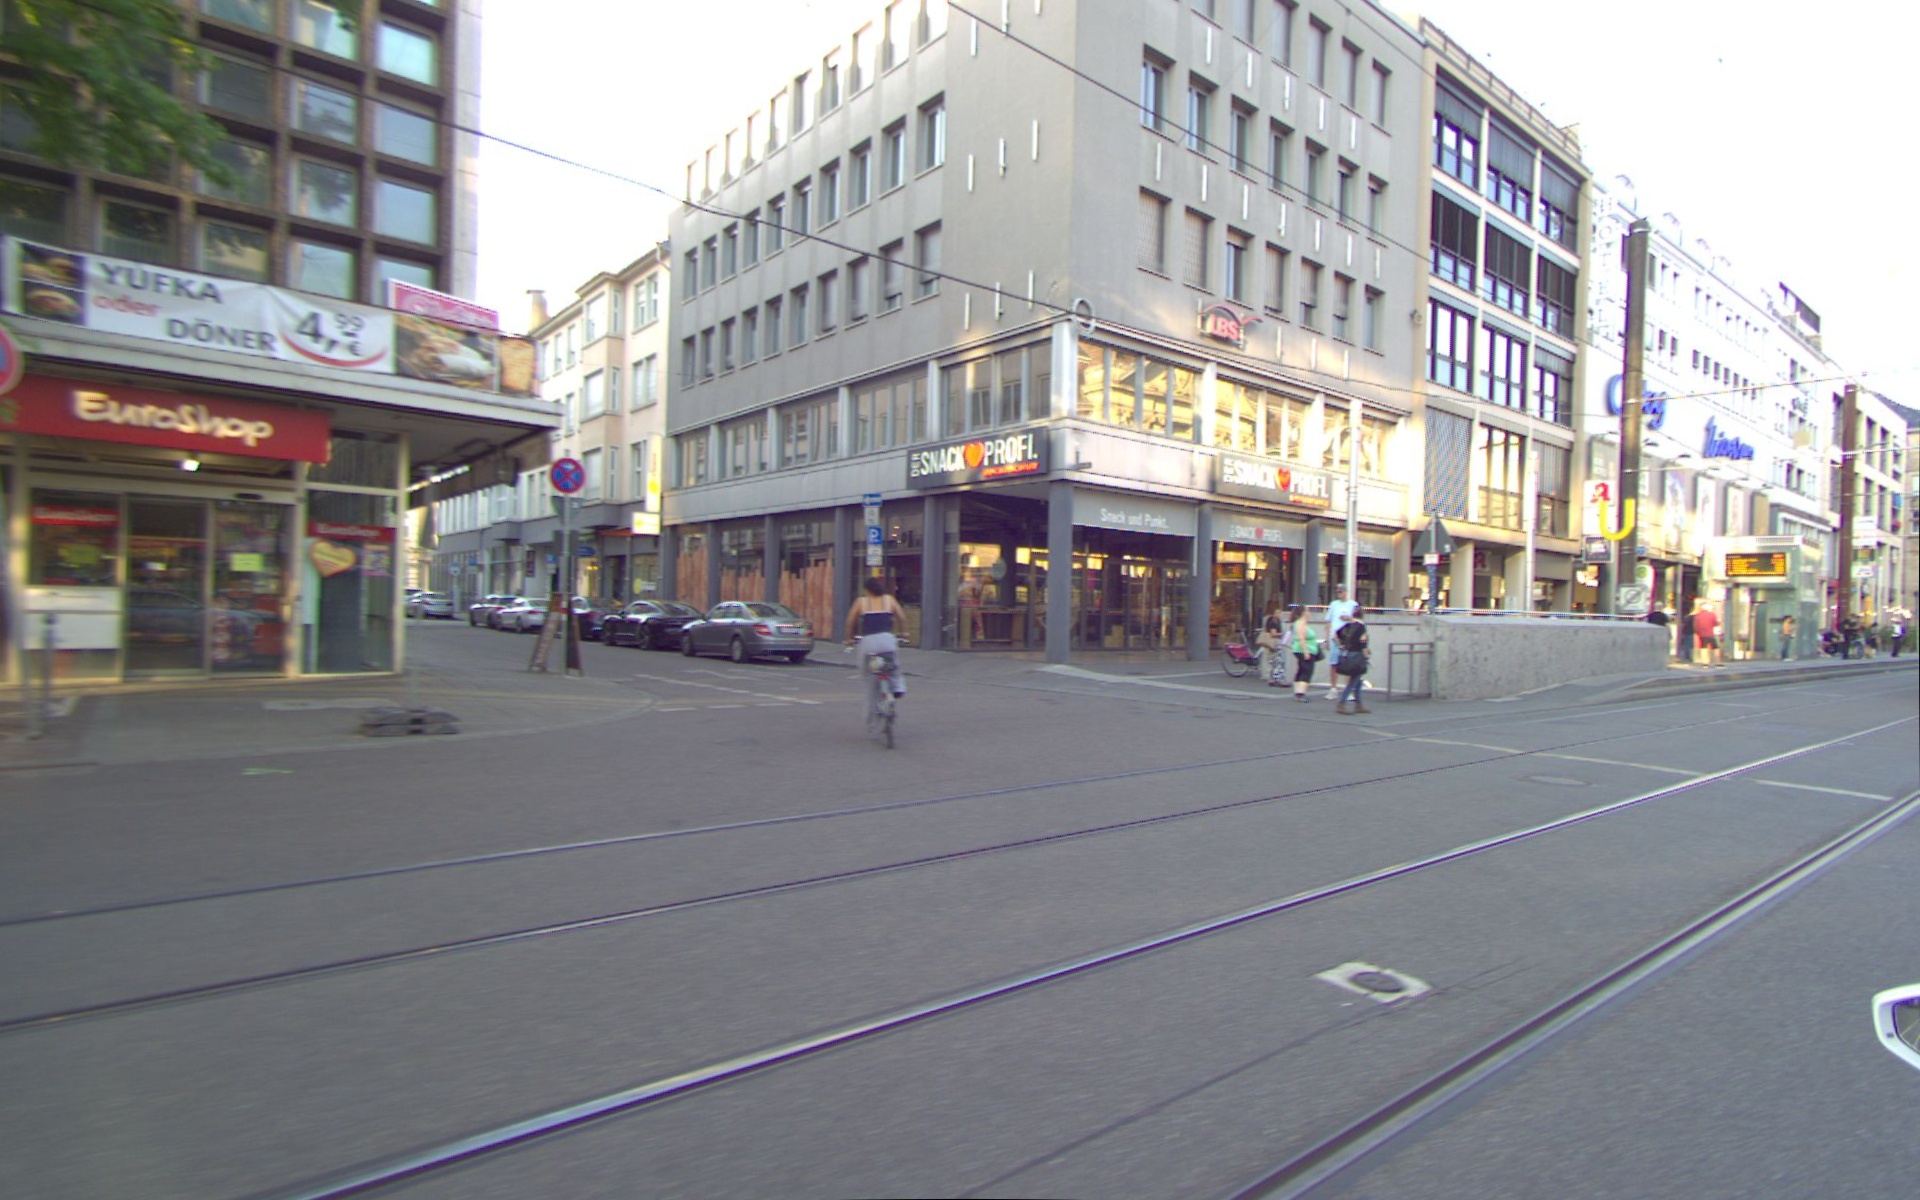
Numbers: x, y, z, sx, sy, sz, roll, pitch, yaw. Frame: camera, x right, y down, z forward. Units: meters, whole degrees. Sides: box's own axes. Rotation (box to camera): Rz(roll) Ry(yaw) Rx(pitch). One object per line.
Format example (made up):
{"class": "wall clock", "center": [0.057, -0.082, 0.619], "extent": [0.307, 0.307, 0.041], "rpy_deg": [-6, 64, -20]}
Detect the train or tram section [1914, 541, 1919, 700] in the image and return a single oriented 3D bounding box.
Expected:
{"class": "train or tram section", "center": [26.629, 0.576, 24.735], "extent": [14.385, 3.363, 2.778], "rpy_deg": [1, 0, -39]}

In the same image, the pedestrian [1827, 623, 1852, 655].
{"class": "pedestrian", "center": [38.438, 1.705, 43.913], "extent": [0.714, 1.397, 0.701], "rpy_deg": [2, -1, -40]}

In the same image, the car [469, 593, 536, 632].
{"class": "car", "center": [-19.674, 0.511, 43.090], "extent": [1.784, 1.530, 3.957], "rpy_deg": [2, -1, -37]}

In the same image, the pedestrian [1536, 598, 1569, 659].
{"class": "pedestrian", "center": [17.411, 0.843, 29.520], "extent": [0.615, 1.748, 0.605], "rpy_deg": [2, -1, 8]}

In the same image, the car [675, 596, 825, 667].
{"class": "car", "center": [-5.171, 0.729, 24.400], "extent": [1.786, 1.530, 4.084], "rpy_deg": [2, -1, -41]}

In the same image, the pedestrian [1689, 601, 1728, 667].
{"class": "pedestrian", "center": [19.999, 0.896, 26.847], "extent": [0.781, 1.720, 0.706], "rpy_deg": [2, -1, -44]}

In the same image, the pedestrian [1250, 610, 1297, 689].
{"class": "pedestrian", "center": [5.962, 0.936, 19.109], "extent": [0.672, 1.453, 0.555], "rpy_deg": [2, -1, -1]}

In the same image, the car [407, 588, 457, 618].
{"class": "car", "center": [-28.823, 0.162, 54.757], "extent": [1.784, 1.530, 3.957], "rpy_deg": [2, -1, -37]}

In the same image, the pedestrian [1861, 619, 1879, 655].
{"class": "pedestrian", "center": [44.369, 1.795, 48.963], "extent": [0.594, 1.750, 0.604], "rpy_deg": [1, -1, 45]}

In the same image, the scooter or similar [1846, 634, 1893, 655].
{"class": "scooter or similar", "center": [39.177, 1.894, 43.253], "extent": [1.495, 0.842, 0.559], "rpy_deg": [2, -1, 0]}

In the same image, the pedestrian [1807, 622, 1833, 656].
{"class": "pedestrian", "center": [35.861, 1.614, 41.902], "extent": [0.714, 1.397, 0.701], "rpy_deg": [2, -1, -40]}

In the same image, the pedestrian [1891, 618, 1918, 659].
{"class": "pedestrian", "center": [41.251, 1.667, 43.869], "extent": [0.703, 1.748, 0.767], "rpy_deg": [2, -1, -39]}

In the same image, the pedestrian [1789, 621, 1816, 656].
{"class": "pedestrian", "center": [34.151, 1.553, 40.711], "extent": [0.714, 1.397, 0.701], "rpy_deg": [2, -1, -40]}

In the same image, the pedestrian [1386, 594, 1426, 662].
{"class": "pedestrian", "center": [11.698, 0.737, 26.344], "extent": [0.704, 1.748, 0.707], "rpy_deg": [2, -1, -40]}

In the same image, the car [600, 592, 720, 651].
{"class": "car", "center": [-8.707, 0.599, 28.919], "extent": [1.786, 1.530, 4.084], "rpy_deg": [2, -1, -41]}

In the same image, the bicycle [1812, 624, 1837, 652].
{"class": "bicycle", "center": [37.387, 1.618, 43.469], "extent": [0.426, 1.157, 1.616], "rpy_deg": [1, 0, 27]}

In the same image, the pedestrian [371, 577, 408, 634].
{"class": "pedestrian", "center": [-17.067, 0.164, 30.035], "extent": [0.863, 1.683, 0.921], "rpy_deg": [1, 0, -36]}

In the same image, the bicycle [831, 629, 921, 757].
{"class": "bicycle", "center": [-0.901, 0.901, 10.446], "extent": [0.802, 1.087, 2.111], "rpy_deg": [2, 1, -7]}

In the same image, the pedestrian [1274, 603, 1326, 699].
{"class": "pedestrian", "center": [5.560, 0.826, 16.413], "extent": [0.597, 1.513, 0.552], "rpy_deg": [1, -1, 44]}

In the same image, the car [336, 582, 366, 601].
{"class": "car", "center": [-52.873, -0.754, 87.137], "extent": [1.784, 1.530, 3.957], "rpy_deg": [2, -1, -37]}

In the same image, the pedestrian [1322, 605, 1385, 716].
{"class": "pedestrian", "center": [5.748, 0.872, 14.673], "extent": [0.675, 1.562, 0.603], "rpy_deg": [1, -1, 38]}

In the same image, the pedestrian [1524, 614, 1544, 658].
{"class": "pedestrian", "center": [21.051, 1.318, 36.822], "extent": [0.503, 1.567, 0.515], "rpy_deg": [1, -1, 44]}

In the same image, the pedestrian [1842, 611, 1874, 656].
{"class": "pedestrian", "center": [35.305, 1.308, 39.482], "extent": [0.696, 1.748, 0.775], "rpy_deg": [2, -1, 22]}

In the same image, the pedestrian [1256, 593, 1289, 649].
{"class": "pedestrian", "center": [9.939, 0.670, 31.922], "extent": [0.704, 1.748, 0.707], "rpy_deg": [2, -1, -40]}

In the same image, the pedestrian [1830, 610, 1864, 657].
{"class": "pedestrian", "center": [33.887, 1.282, 38.387], "extent": [0.695, 1.748, 0.775], "rpy_deg": [2, -1, 21]}

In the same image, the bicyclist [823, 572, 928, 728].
{"class": "bicyclist", "center": [-0.889, 0.497, 10.448], "extent": [0.981, 1.522, 0.856], "rpy_deg": [2, 1, -7]}

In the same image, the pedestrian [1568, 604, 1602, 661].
{"class": "pedestrian", "center": [17.962, 0.922, 28.881], "extent": [0.615, 1.609, 0.605], "rpy_deg": [2, -1, 9]}

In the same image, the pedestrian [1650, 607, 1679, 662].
{"class": "pedestrian", "center": [20.934, 1.023, 29.842], "extent": [0.596, 1.609, 0.625], "rpy_deg": [1, -1, 42]}

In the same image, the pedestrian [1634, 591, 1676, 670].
{"class": "pedestrian", "center": [17.460, 0.764, 25.217], "extent": [0.704, 1.950, 0.707], "rpy_deg": [2, -1, -43]}

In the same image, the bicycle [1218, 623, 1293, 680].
{"class": "bicycle", "center": [6.253, 1.075, 21.231], "extent": [1.781, 1.122, 0.495], "rpy_deg": [0, 1, -34]}

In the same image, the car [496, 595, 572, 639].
{"class": "car", "center": [-16.501, 0.630, 38.821], "extent": [1.784, 1.530, 3.957], "rpy_deg": [2, -1, -37]}

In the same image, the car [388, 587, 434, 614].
{"class": "car", "center": [-32.604, 0.019, 59.628], "extent": [1.784, 1.530, 3.957], "rpy_deg": [2, -1, -37]}

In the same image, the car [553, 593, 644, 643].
{"class": "car", "center": [-12.280, 0.581, 33.979], "extent": [1.784, 1.530, 3.957], "rpy_deg": [2, -1, -37]}

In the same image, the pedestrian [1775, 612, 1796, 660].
{"class": "pedestrian", "center": [28.891, 1.265, 35.154], "extent": [0.505, 1.639, 0.502], "rpy_deg": [1, -1, 43]}

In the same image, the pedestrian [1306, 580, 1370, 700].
{"class": "pedestrian", "center": [6.362, 0.655, 16.900], "extent": [0.765, 1.951, 0.705], "rpy_deg": [1, -1, 44]}
